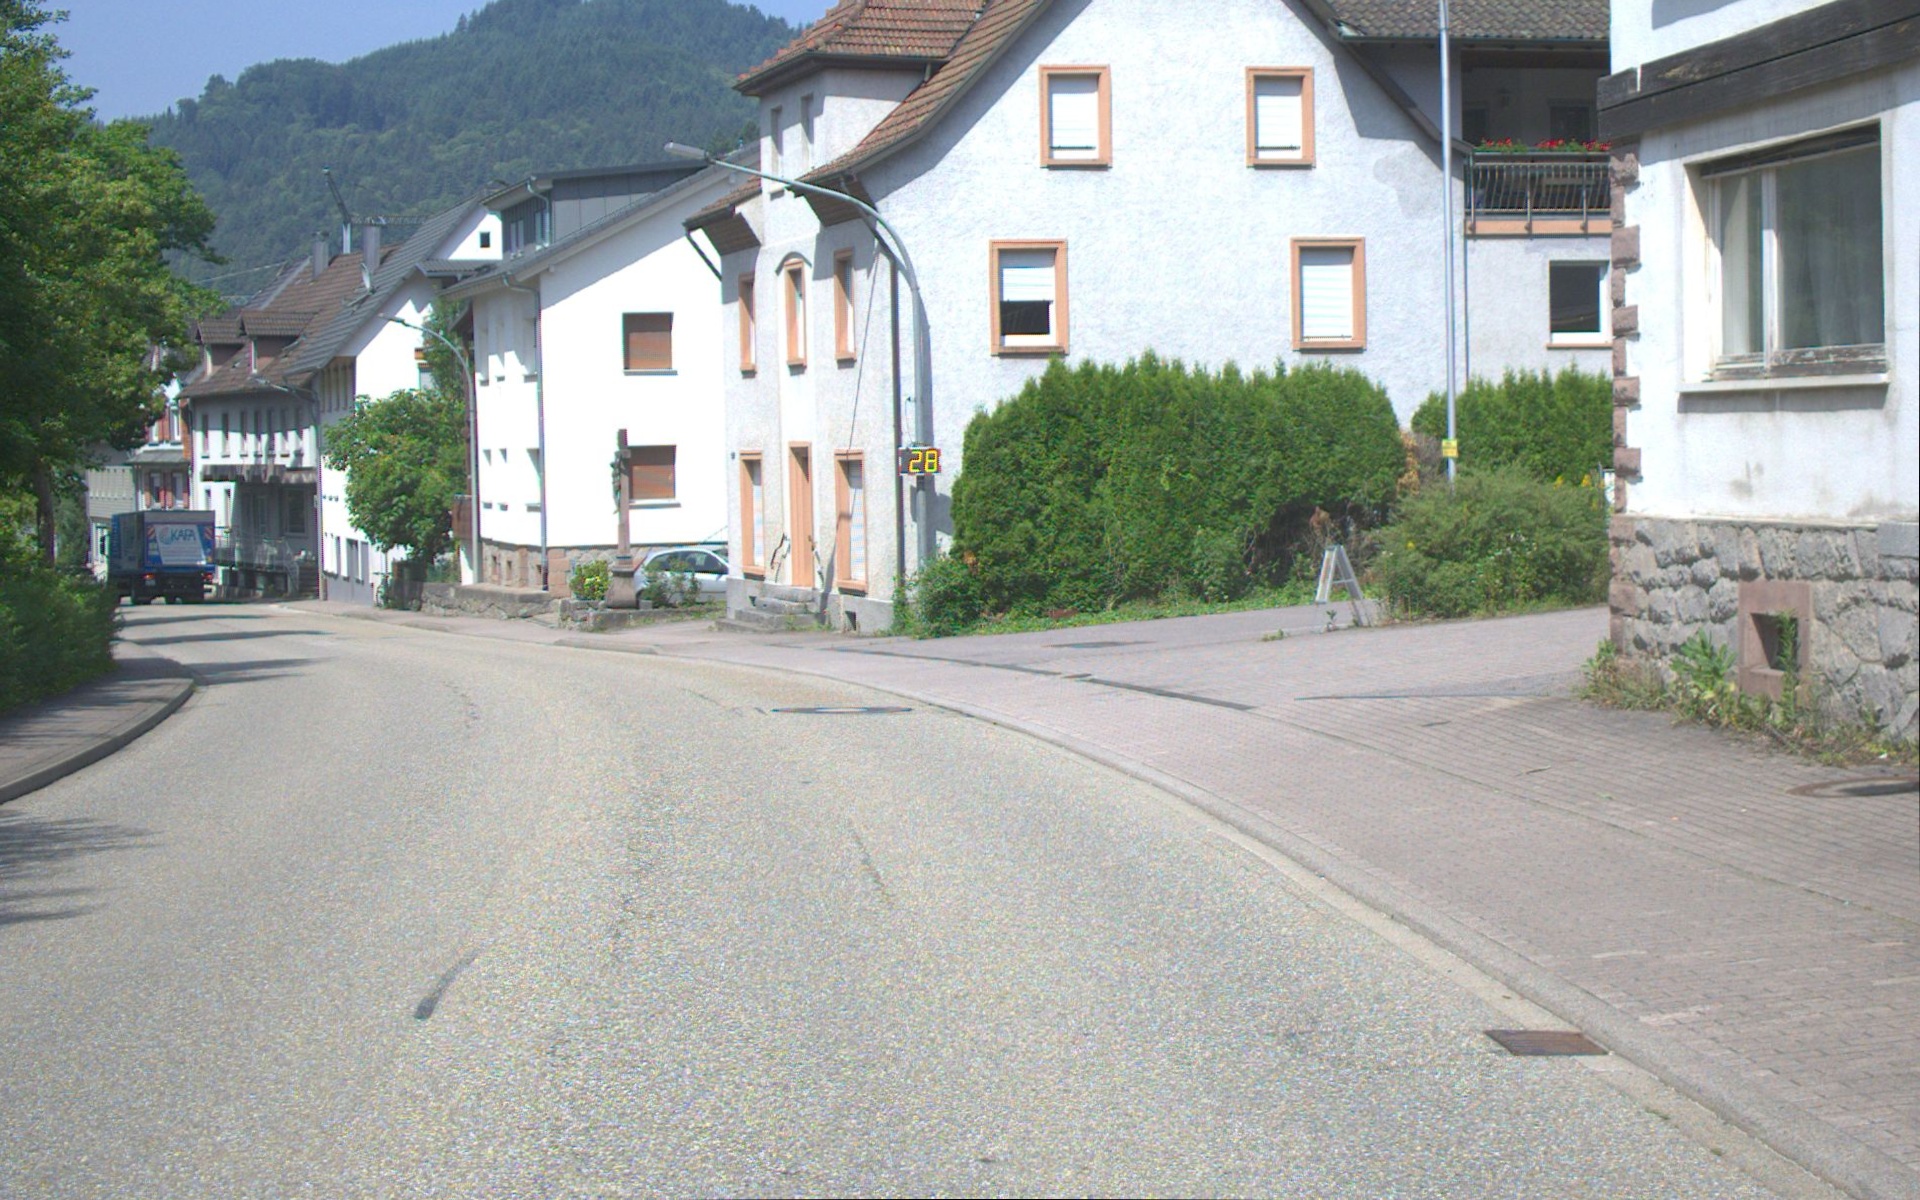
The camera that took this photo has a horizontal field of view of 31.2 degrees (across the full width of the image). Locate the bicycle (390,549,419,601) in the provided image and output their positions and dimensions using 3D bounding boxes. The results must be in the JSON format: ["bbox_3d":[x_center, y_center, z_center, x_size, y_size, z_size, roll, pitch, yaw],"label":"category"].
[{"bbox_3d":[-15.539,-0.700,96.100,0.425,1.391,2.277,-5,2,-15],"label":"bicycle"}]

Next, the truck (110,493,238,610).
[{"bbox_3d":[-29.199,-1.744,127.448,3.362,3.769,8.442,-5,0,-19],"label":"truck"}]

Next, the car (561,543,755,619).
[{"bbox_3d":[-6.346,-0.398,72.179,3.770,1.422,1.607,-2,1,30],"label":"car"}]
